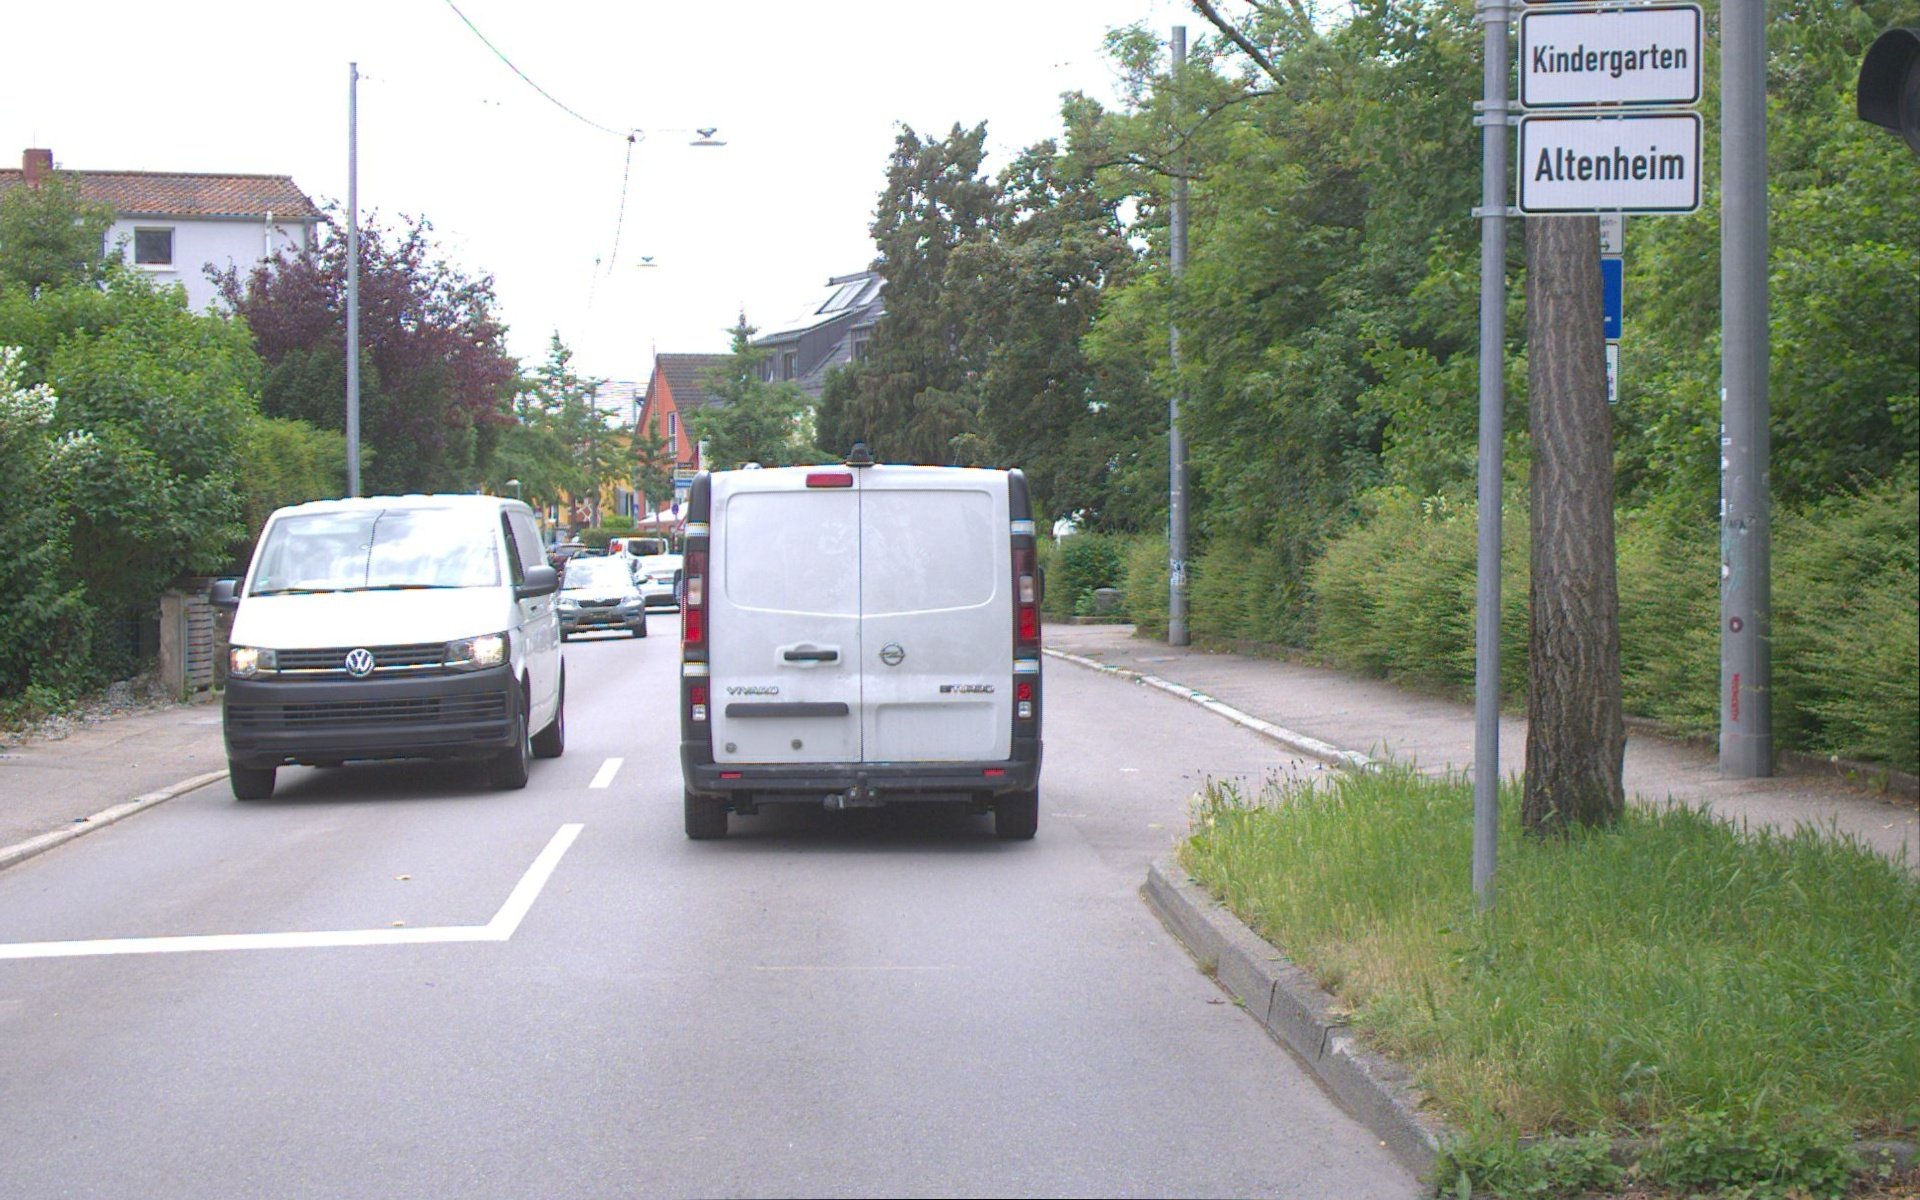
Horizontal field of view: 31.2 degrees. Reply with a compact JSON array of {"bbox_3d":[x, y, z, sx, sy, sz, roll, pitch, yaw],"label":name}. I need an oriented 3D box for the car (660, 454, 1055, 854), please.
[{"bbox_3d":[-0.637,0.263,19.195,1.929,1.957,4.402,1,0,-3],"label":"car"}]

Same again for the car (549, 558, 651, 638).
[{"bbox_3d":[-7.230,-0.061,68.763,1.883,1.507,4.114,-1,1,-7],"label":"car"}]

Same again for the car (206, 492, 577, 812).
[{"bbox_3d":[-3.782,0.276,23.719,1.867,1.904,5.116,-2,1,-3],"label":"car"}]

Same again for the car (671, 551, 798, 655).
[{"bbox_3d":[-4.160,0.045,64.155,1.897,1.853,4.404,1,0,2],"label":"car"}]

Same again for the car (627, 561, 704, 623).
[{"bbox_3d":[-8.395,-0.234,97.732,1.824,1.722,4.001,1,0,-10],"label":"car"}]
